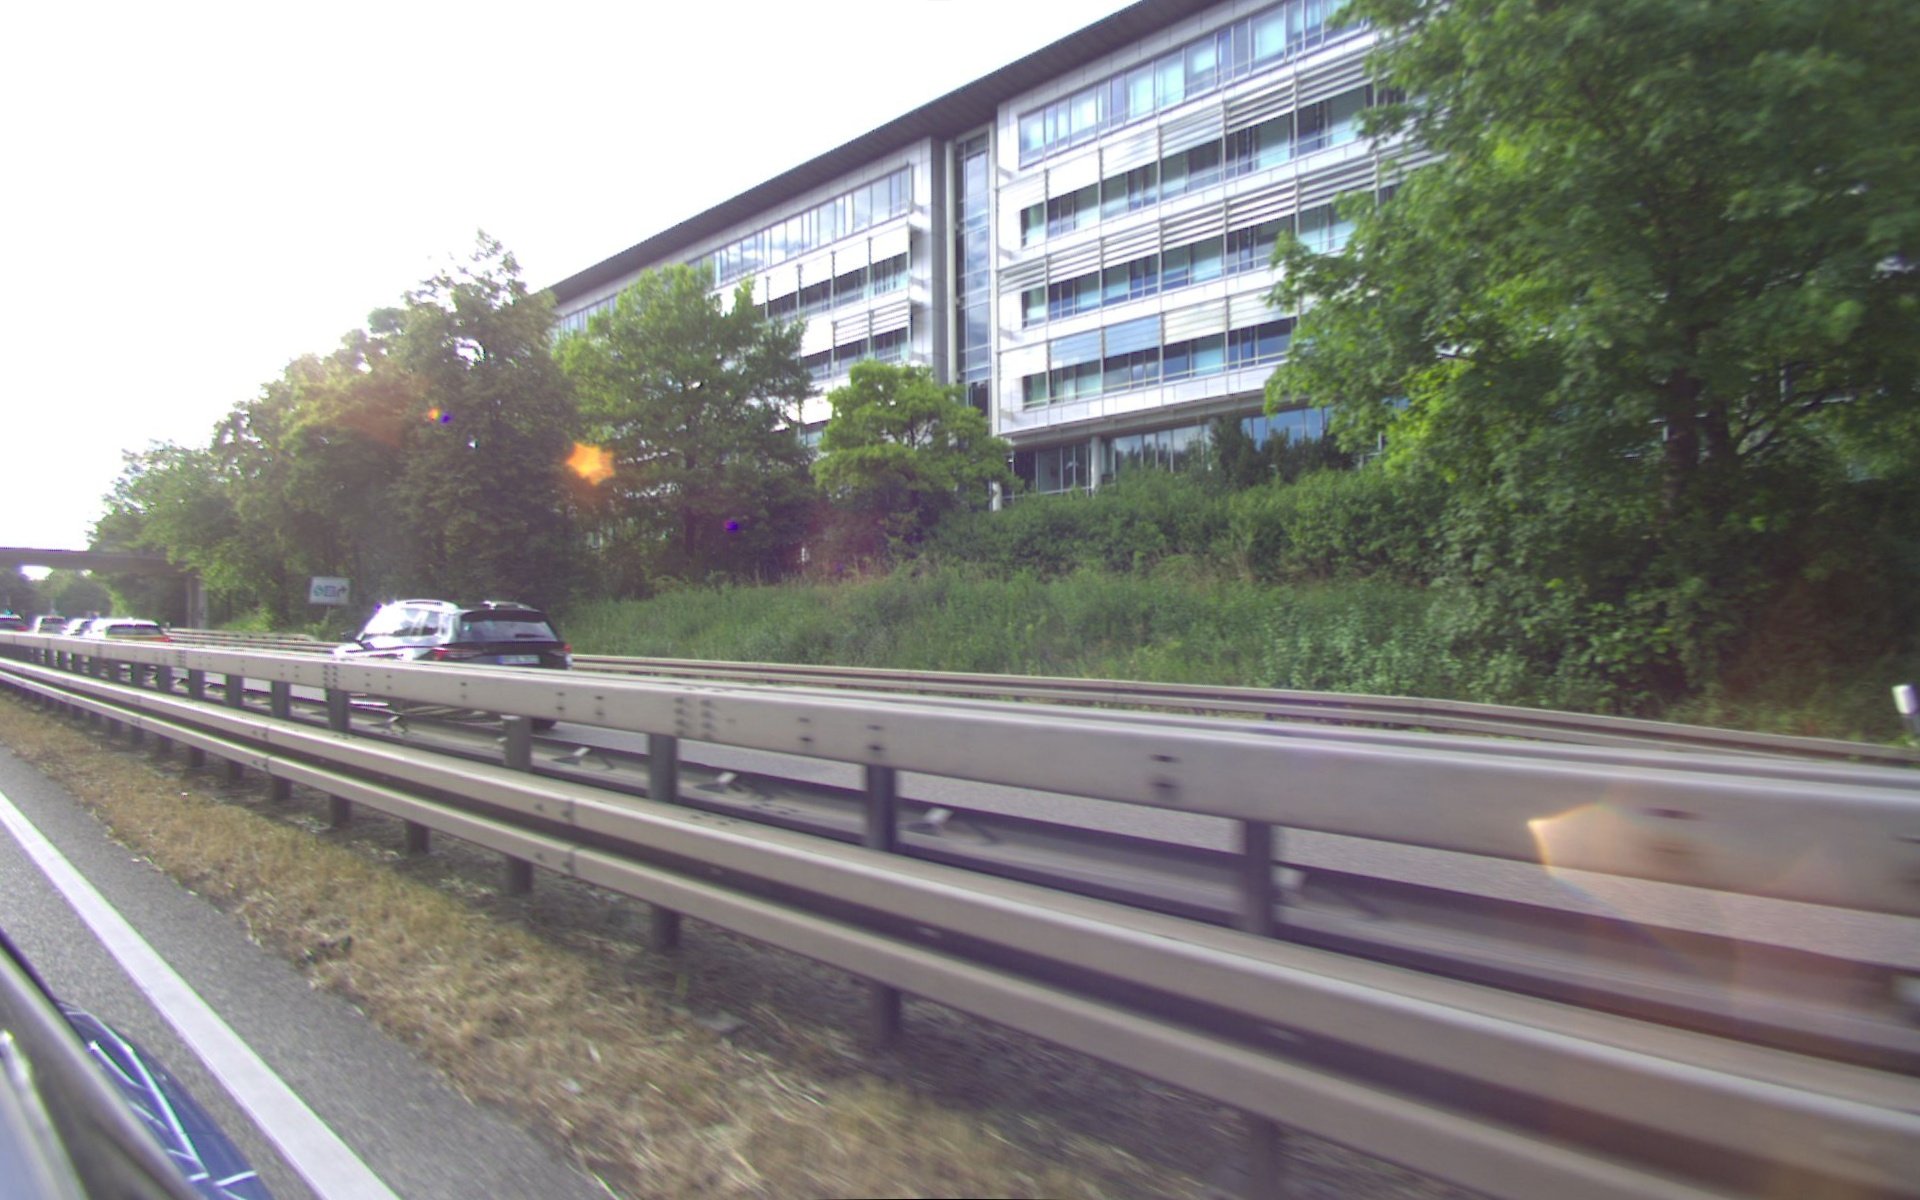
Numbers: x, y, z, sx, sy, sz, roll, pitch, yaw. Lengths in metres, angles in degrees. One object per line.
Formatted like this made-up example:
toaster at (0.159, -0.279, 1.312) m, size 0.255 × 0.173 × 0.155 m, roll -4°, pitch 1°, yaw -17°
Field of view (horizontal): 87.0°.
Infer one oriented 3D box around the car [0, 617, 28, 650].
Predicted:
car at (-47.922, 1.666, 50.403) m, size 4.314 × 1.596 × 1.801 m, roll -1°, pitch -1°, yaw 42°

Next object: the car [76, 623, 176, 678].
car at (-23.831, 1.390, 28.864) m, size 3.998 × 1.458 × 1.575 m, roll -1°, pitch -2°, yaw 41°

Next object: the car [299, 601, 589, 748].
car at (-7.219, 0.897, 13.860) m, size 5.277 × 1.657 × 1.724 m, roll -1°, pitch -2°, yaw 42°

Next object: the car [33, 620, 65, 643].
car at (-75.178, 2.601, 83.486) m, size 1.846 × 1.869 × 4.626 m, roll 1°, pitch -2°, yaw -44°

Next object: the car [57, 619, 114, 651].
car at (-46.467, 1.804, 53.753) m, size 4.309 × 1.601 × 1.725 m, roll -1°, pitch -1°, yaw 41°
